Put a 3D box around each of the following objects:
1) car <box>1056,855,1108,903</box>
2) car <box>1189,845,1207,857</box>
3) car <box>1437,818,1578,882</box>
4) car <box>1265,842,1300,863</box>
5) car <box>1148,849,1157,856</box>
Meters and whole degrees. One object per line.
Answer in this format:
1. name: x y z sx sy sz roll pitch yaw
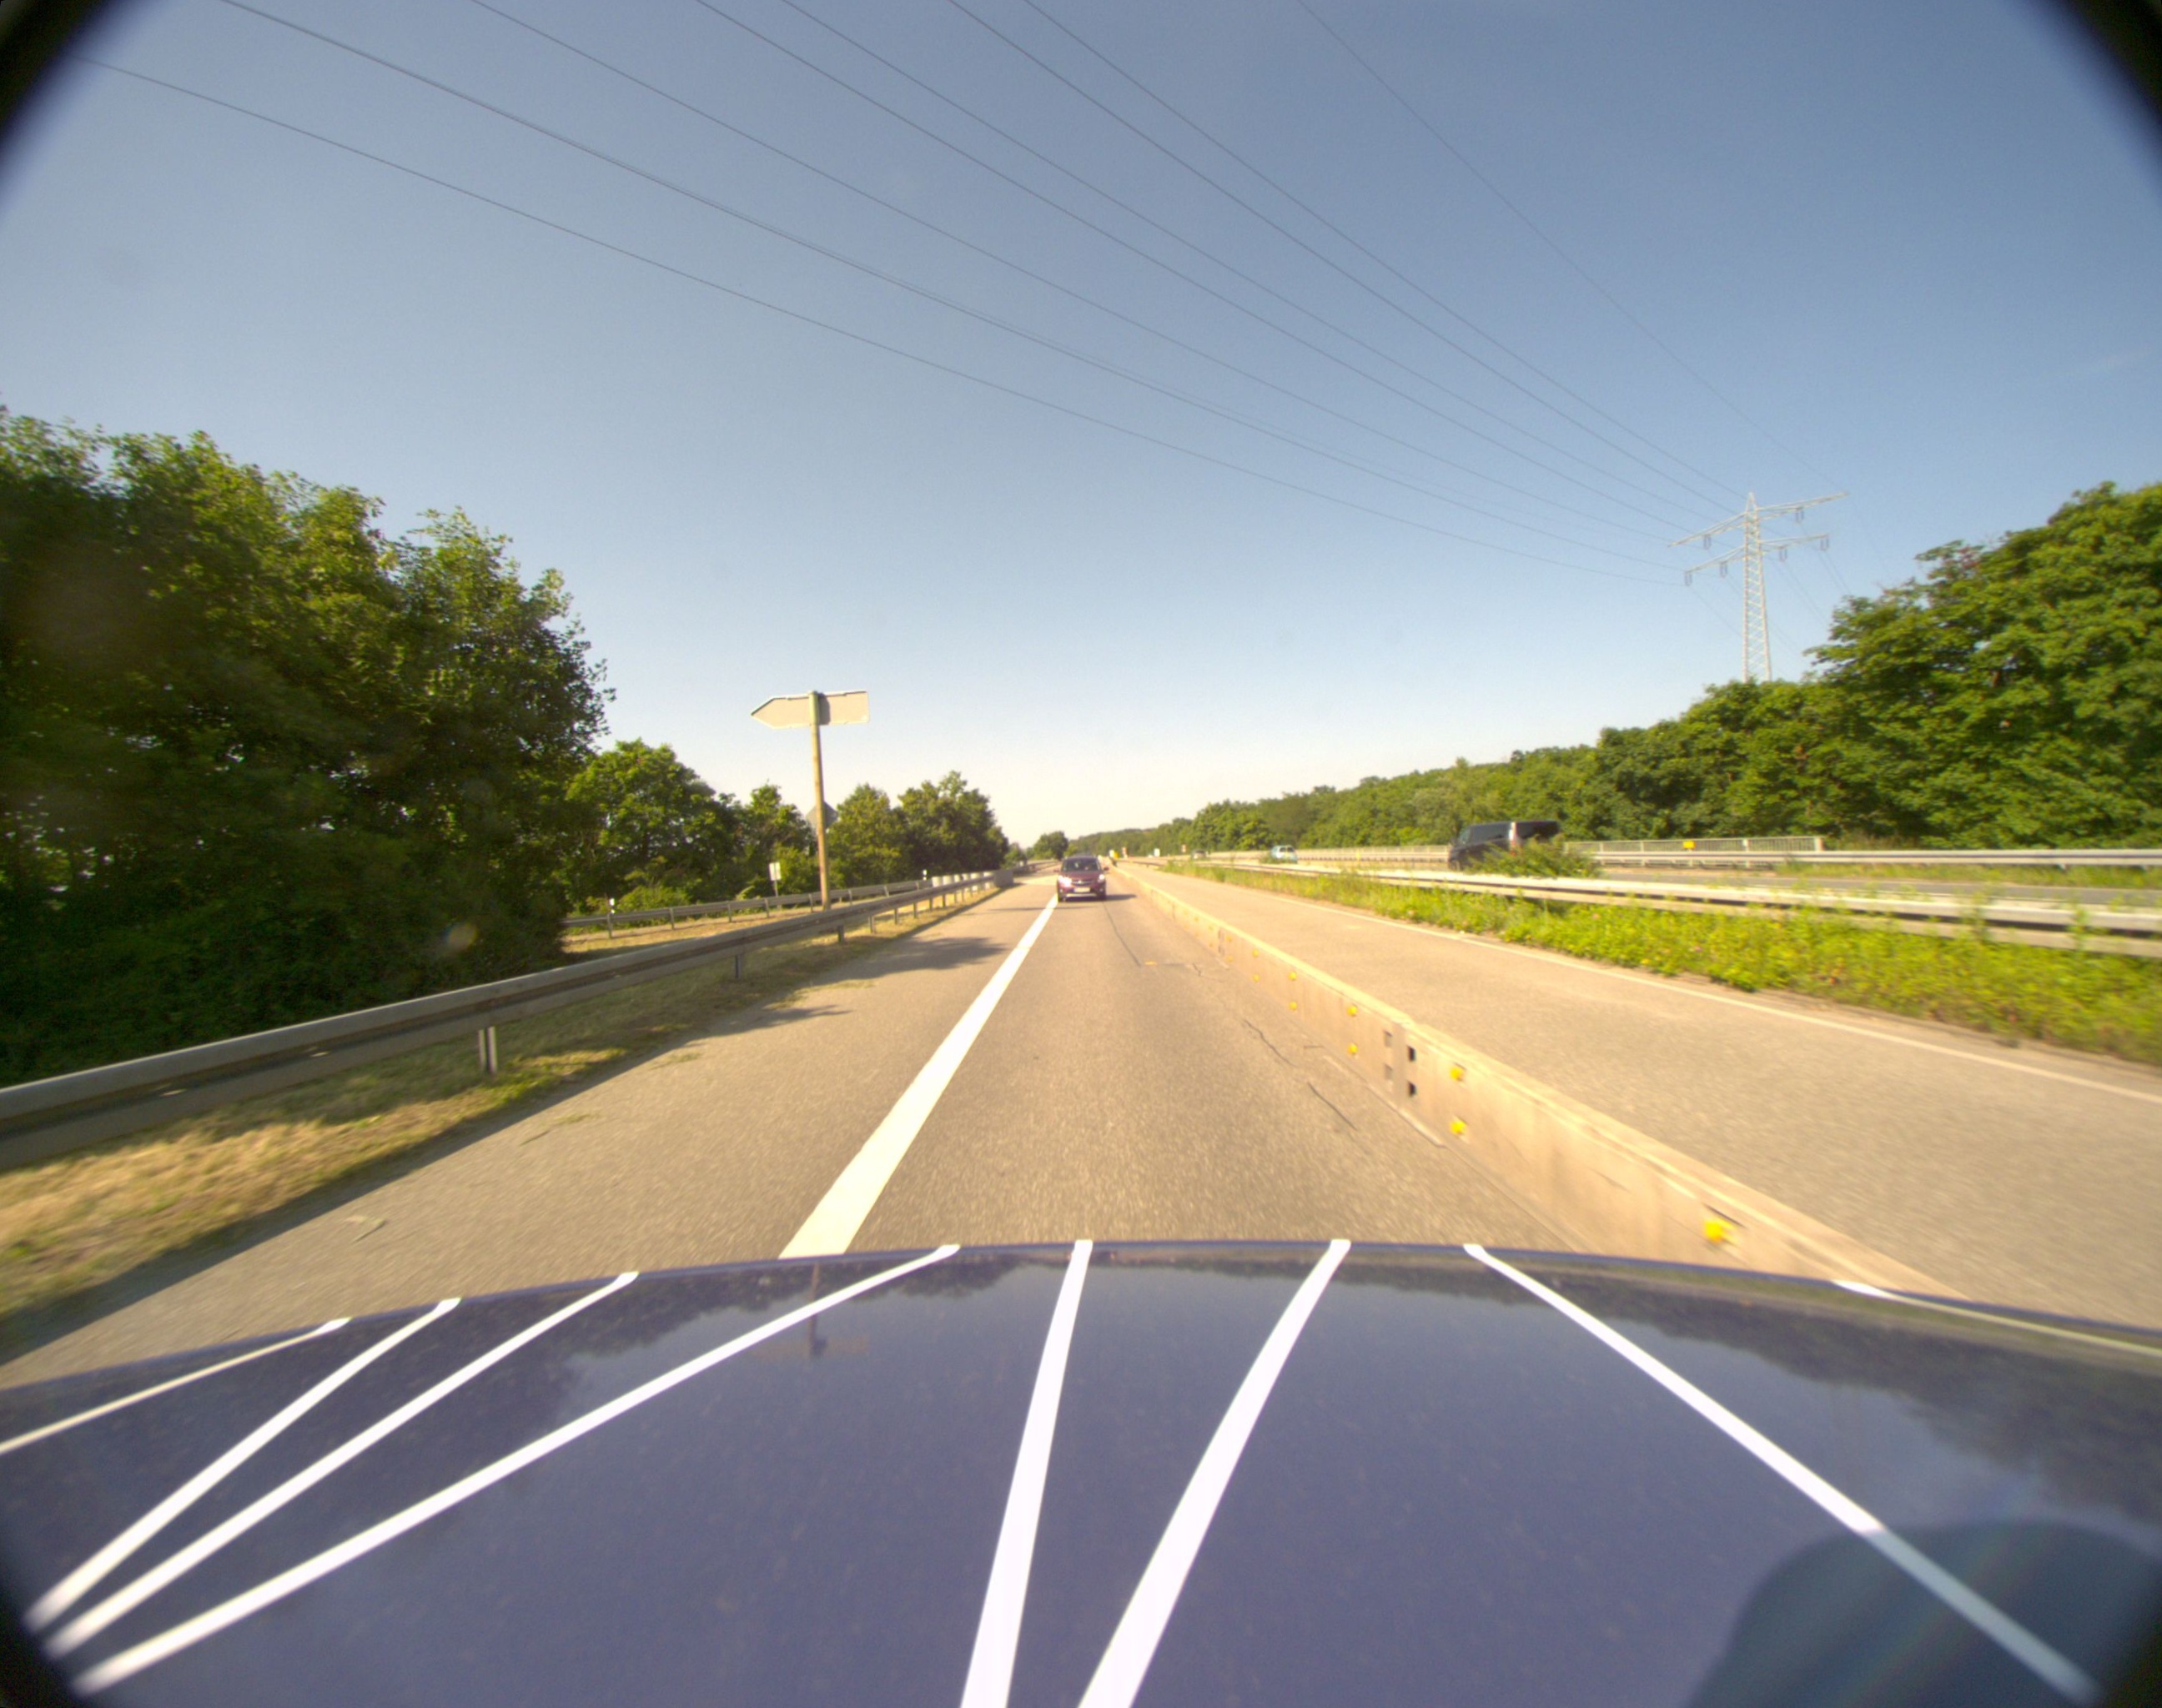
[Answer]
1. car: 0.098 0.819 26.435 1.587 1.491 4.416 -2 0 2
2. car: 16.247 -0.398 105.534 1.767 1.574 4.422 -1 1 1
3. car: 14.949 -0.132 27.041 1.999 2.023 5.167 -2 0 -1
4. car: 15.659 -0.129 59.172 1.651 1.522 3.818 -2 0 0
5. car: 16.858 -0.388 180.193 1.781 1.385 4.125 -3 0 0
